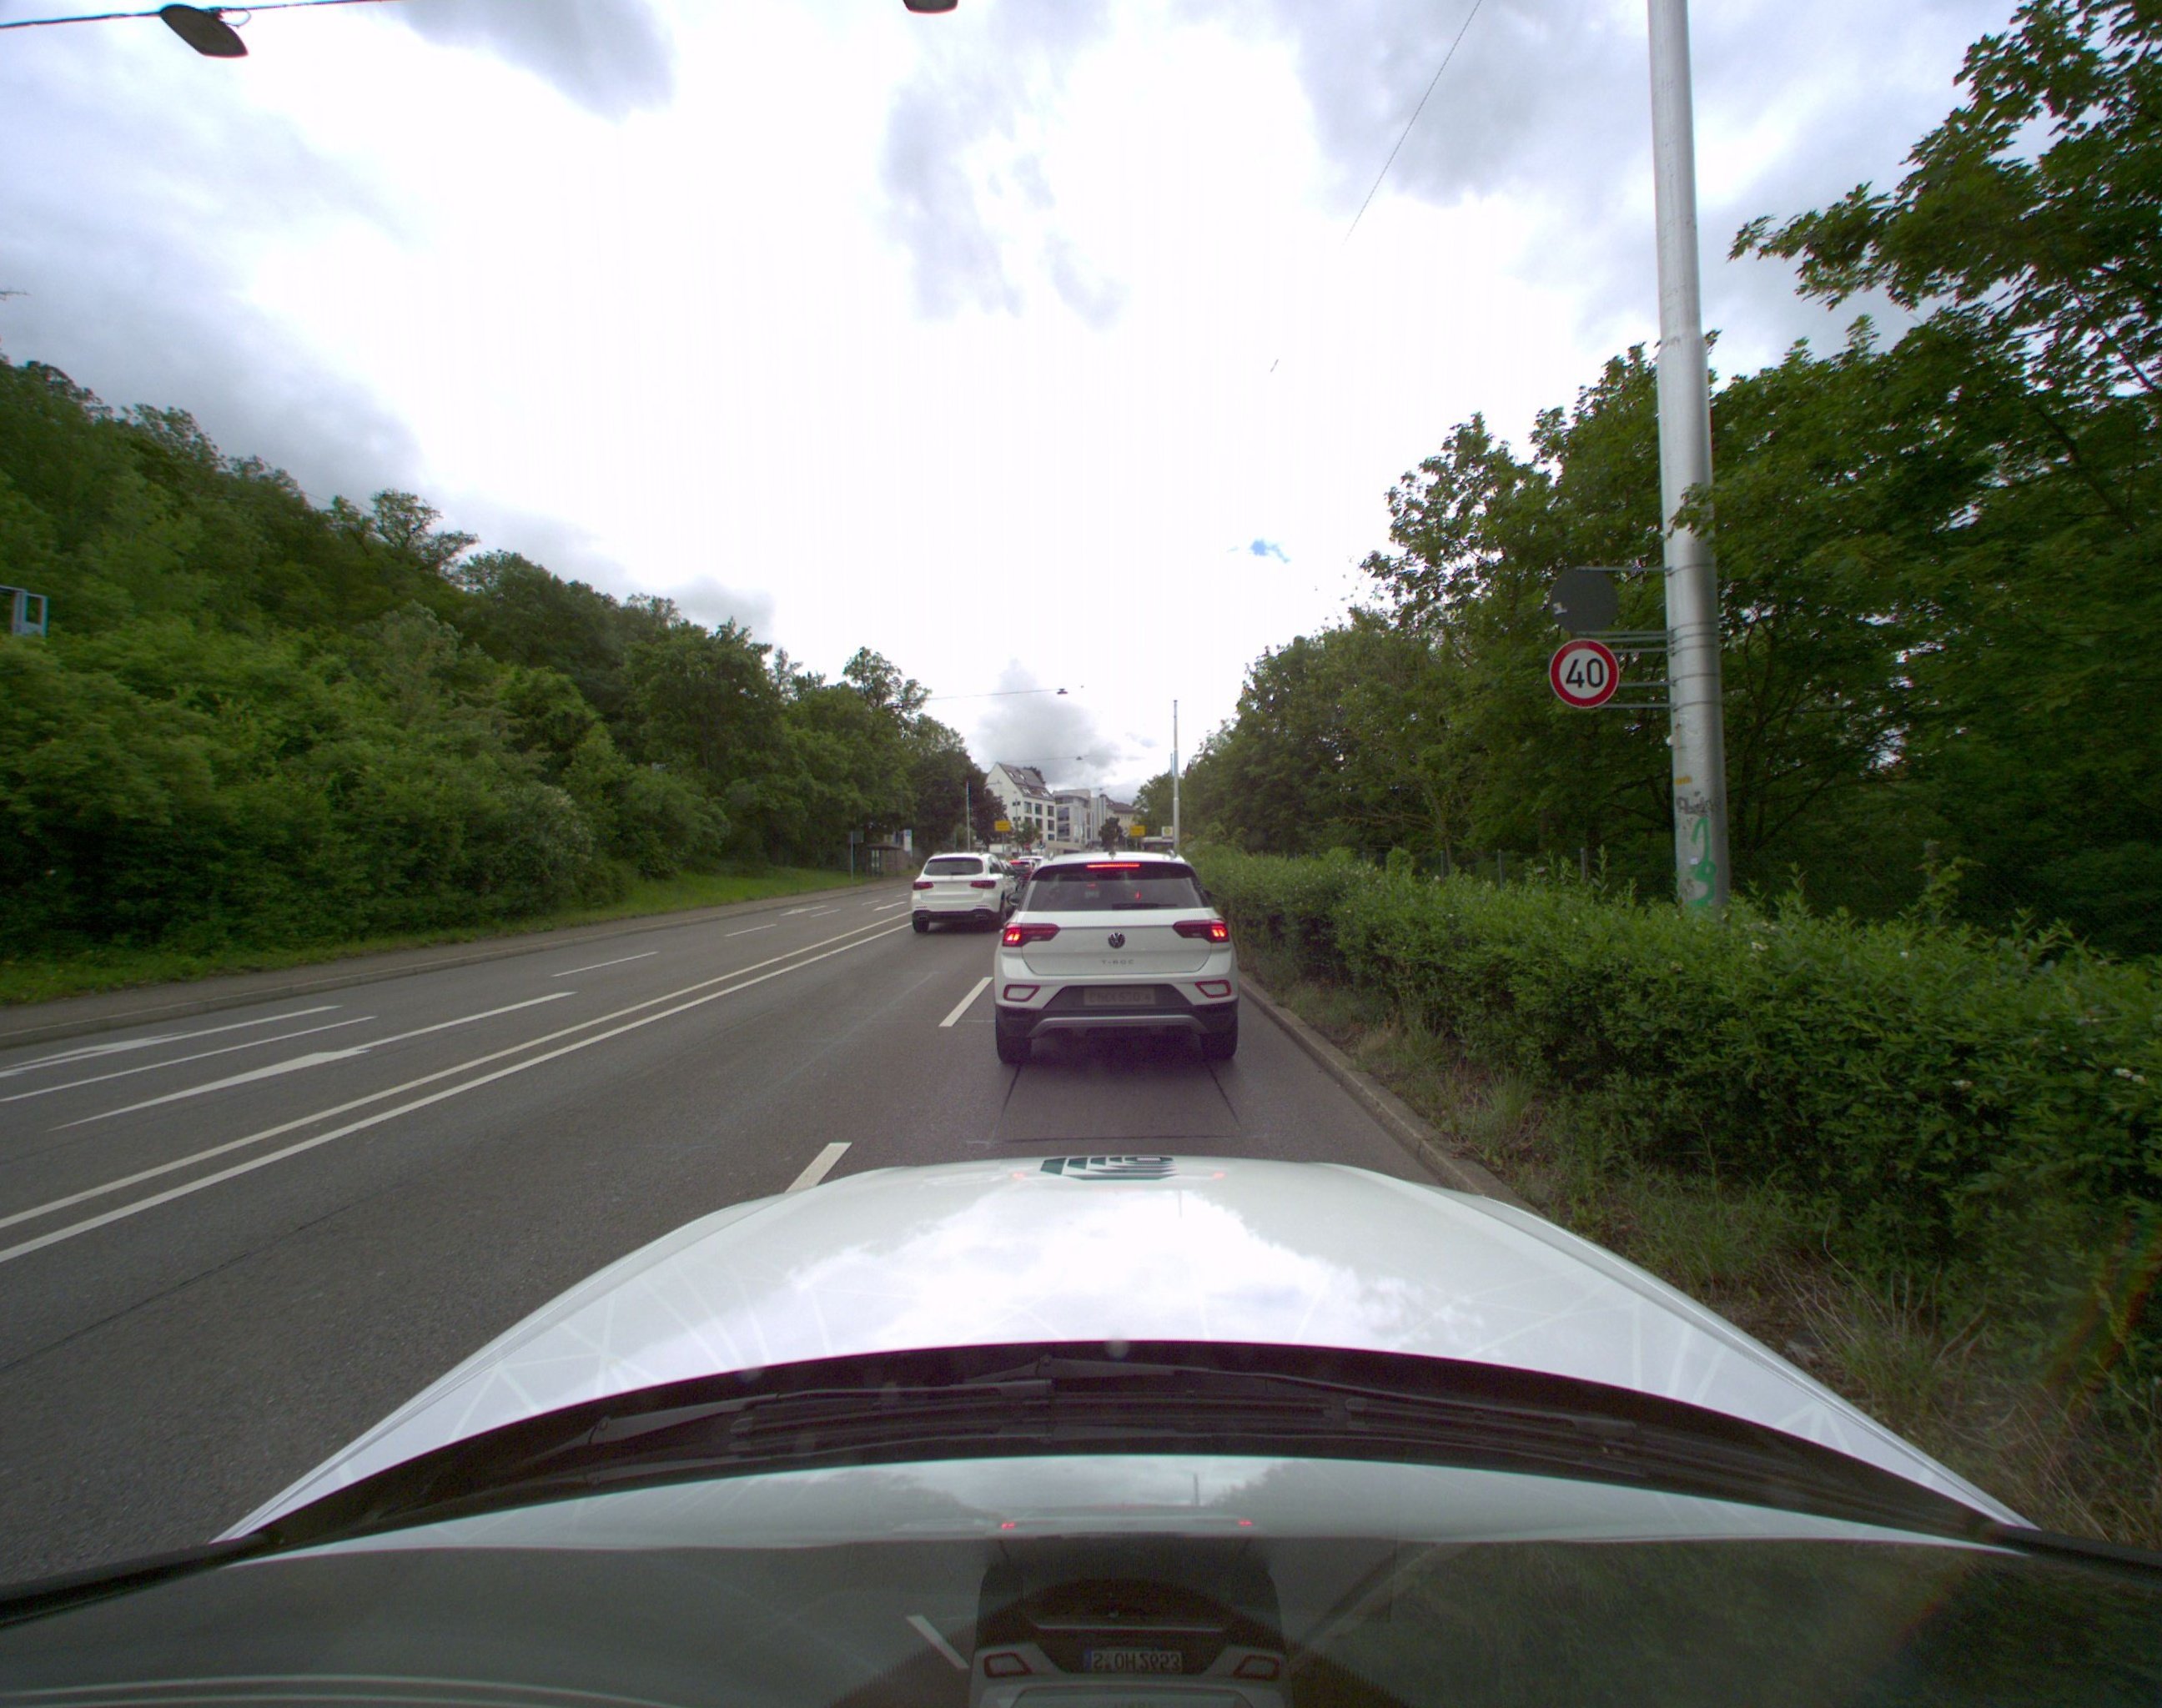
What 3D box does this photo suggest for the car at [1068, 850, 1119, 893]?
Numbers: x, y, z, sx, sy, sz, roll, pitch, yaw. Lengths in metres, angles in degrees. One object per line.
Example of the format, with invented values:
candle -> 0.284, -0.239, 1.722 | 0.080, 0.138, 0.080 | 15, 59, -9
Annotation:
car -> 0.486, 0.641, 32.123 | 1.823, 1.526, 4.001 | -2, 0, 1

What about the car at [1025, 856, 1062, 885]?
car -> -2.116, 0.933, 47.206 | 1.823, 1.526, 4.001 | -2, 0, 1

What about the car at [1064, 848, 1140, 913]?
car -> 0.547, 0.661, 22.112 | 1.823, 1.526, 4.001 | -2, 0, 1

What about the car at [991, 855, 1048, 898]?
car -> -2.358, 0.844, 32.094 | 1.823, 1.526, 4.001 | -2, 0, 1

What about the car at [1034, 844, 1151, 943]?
car -> 0.224, 0.636, 15.042 | 1.823, 1.526, 4.001 | -2, 0, 1

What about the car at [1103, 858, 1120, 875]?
car -> 3.837, 1.549, 102.451 | 1.986, 2.014, 4.002 | -3, -2, 2

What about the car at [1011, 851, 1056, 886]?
car -> -2.265, 0.672, 39.681 | 1.823, 1.526, 4.001 | -2, 0, 1

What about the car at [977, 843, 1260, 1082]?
car -> 0.284, 0.721, 7.373 | 1.823, 1.526, 4.001 | -2, 0, 1

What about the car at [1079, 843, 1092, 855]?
car -> 0.647, -0.701, 116.977 | 1.823, 1.526, 4.001 | -2, 0, 1

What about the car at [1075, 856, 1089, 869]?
car -> 0.164, 1.106, 108.855 | 1.809, 1.656, 3.929 | -3, 0, 1

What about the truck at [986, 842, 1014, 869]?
truck -> -9.784, 0.159, 99.247 | 2.284, 3.051, 6.983 | -3, 0, 2

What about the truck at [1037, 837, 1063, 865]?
truck -> -3.206, -0.284, 85.901 | 2.354, 2.782, 4.478 | -3, 0, 1

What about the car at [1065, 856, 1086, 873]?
car -> -0.494, 0.977, 76.113 | 1.823, 1.526, 4.001 | -2, 0, 1

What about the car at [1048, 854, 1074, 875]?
car -> -1.571, 0.835, 65.402 | 1.823, 1.526, 4.001 | -2, 0, 1

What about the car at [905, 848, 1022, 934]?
car -> -2.464, 0.725, 18.029 | 1.911, 1.669, 4.001 | -1, 0, 1

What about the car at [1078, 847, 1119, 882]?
car -> 0.826, 0.488, 39.463 | 1.823, 1.526, 4.001 | -2, 0, 1

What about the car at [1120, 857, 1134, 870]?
car -> 7.503, 1.508, 132.681 | 1.986, 2.013, 4.001 | -3, 0, 1

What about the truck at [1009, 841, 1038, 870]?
truck -> -5.726, 0.167, 81.325 | 2.354, 2.706, 4.478 | -3, 0, 1
